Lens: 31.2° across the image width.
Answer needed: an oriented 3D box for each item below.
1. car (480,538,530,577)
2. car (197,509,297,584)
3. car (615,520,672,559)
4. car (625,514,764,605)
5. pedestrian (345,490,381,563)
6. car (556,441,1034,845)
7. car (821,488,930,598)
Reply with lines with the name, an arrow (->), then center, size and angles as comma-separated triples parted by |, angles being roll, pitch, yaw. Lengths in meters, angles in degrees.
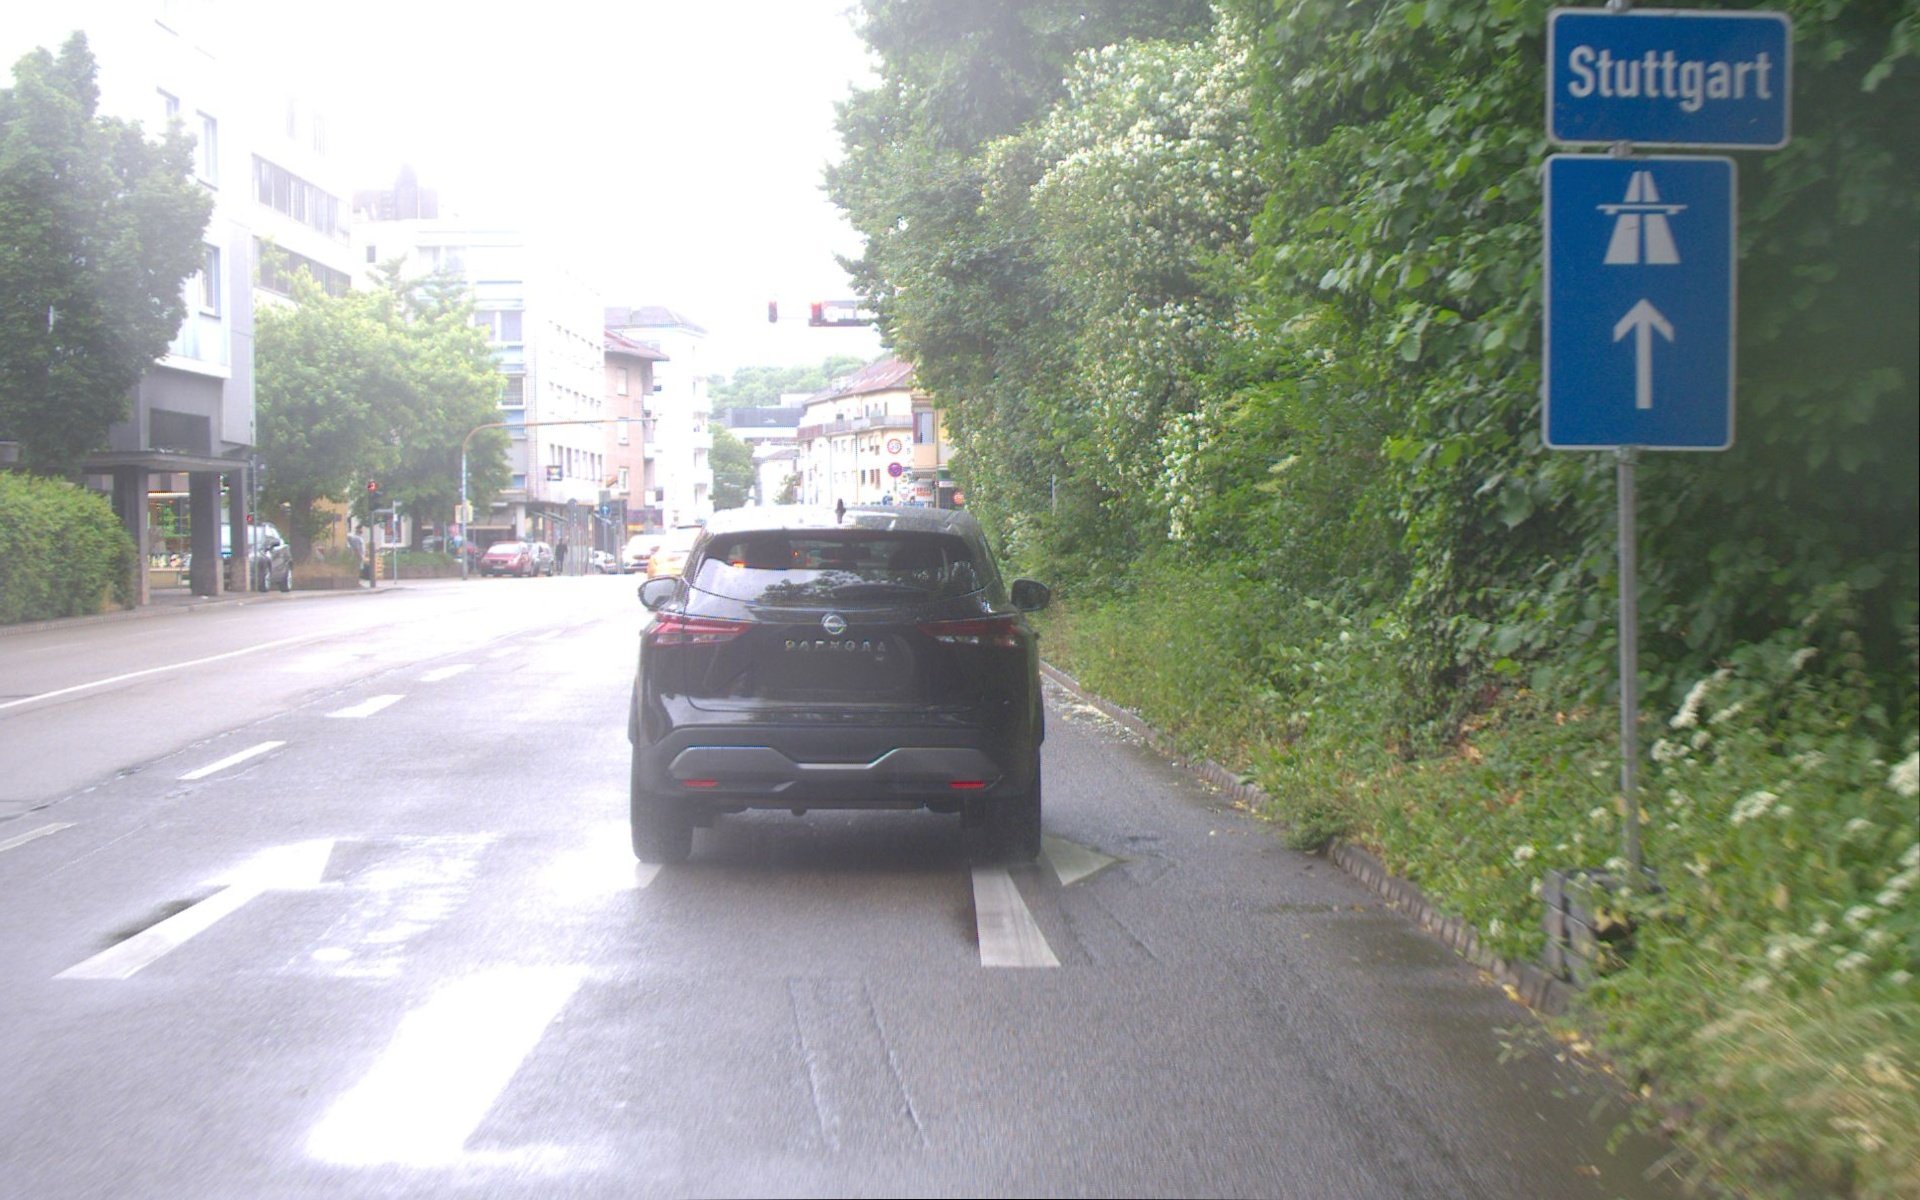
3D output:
car -> -18.371, -1.719, 138.931 | 1.672, 1.473, 3.609 | -2, 1, -3
car -> -16.761, -1.277, 80.941 | 1.539, 1.700, 4.288 | 0, 1, -1
car -> -12.454, -2.381, 135.198 | 1.993, 1.448, 4.001 | -1, 2, -8
car -> -4.481, -0.714, 58.548 | 2.066, 1.459, 4.587 | 0, 2, -1
pedestrian -> -16.669, -2.065, 95.980 | 0.940, 2.007, 0.887 | -1, 1, -10
car -> -0.765, 0.123, 16.334 | 1.959, 1.647, 4.001 | -1, 2, -2
car -> -1.606, -1.099, 65.209 | 1.993, 2.007, 4.001 | -1, 1, -1
